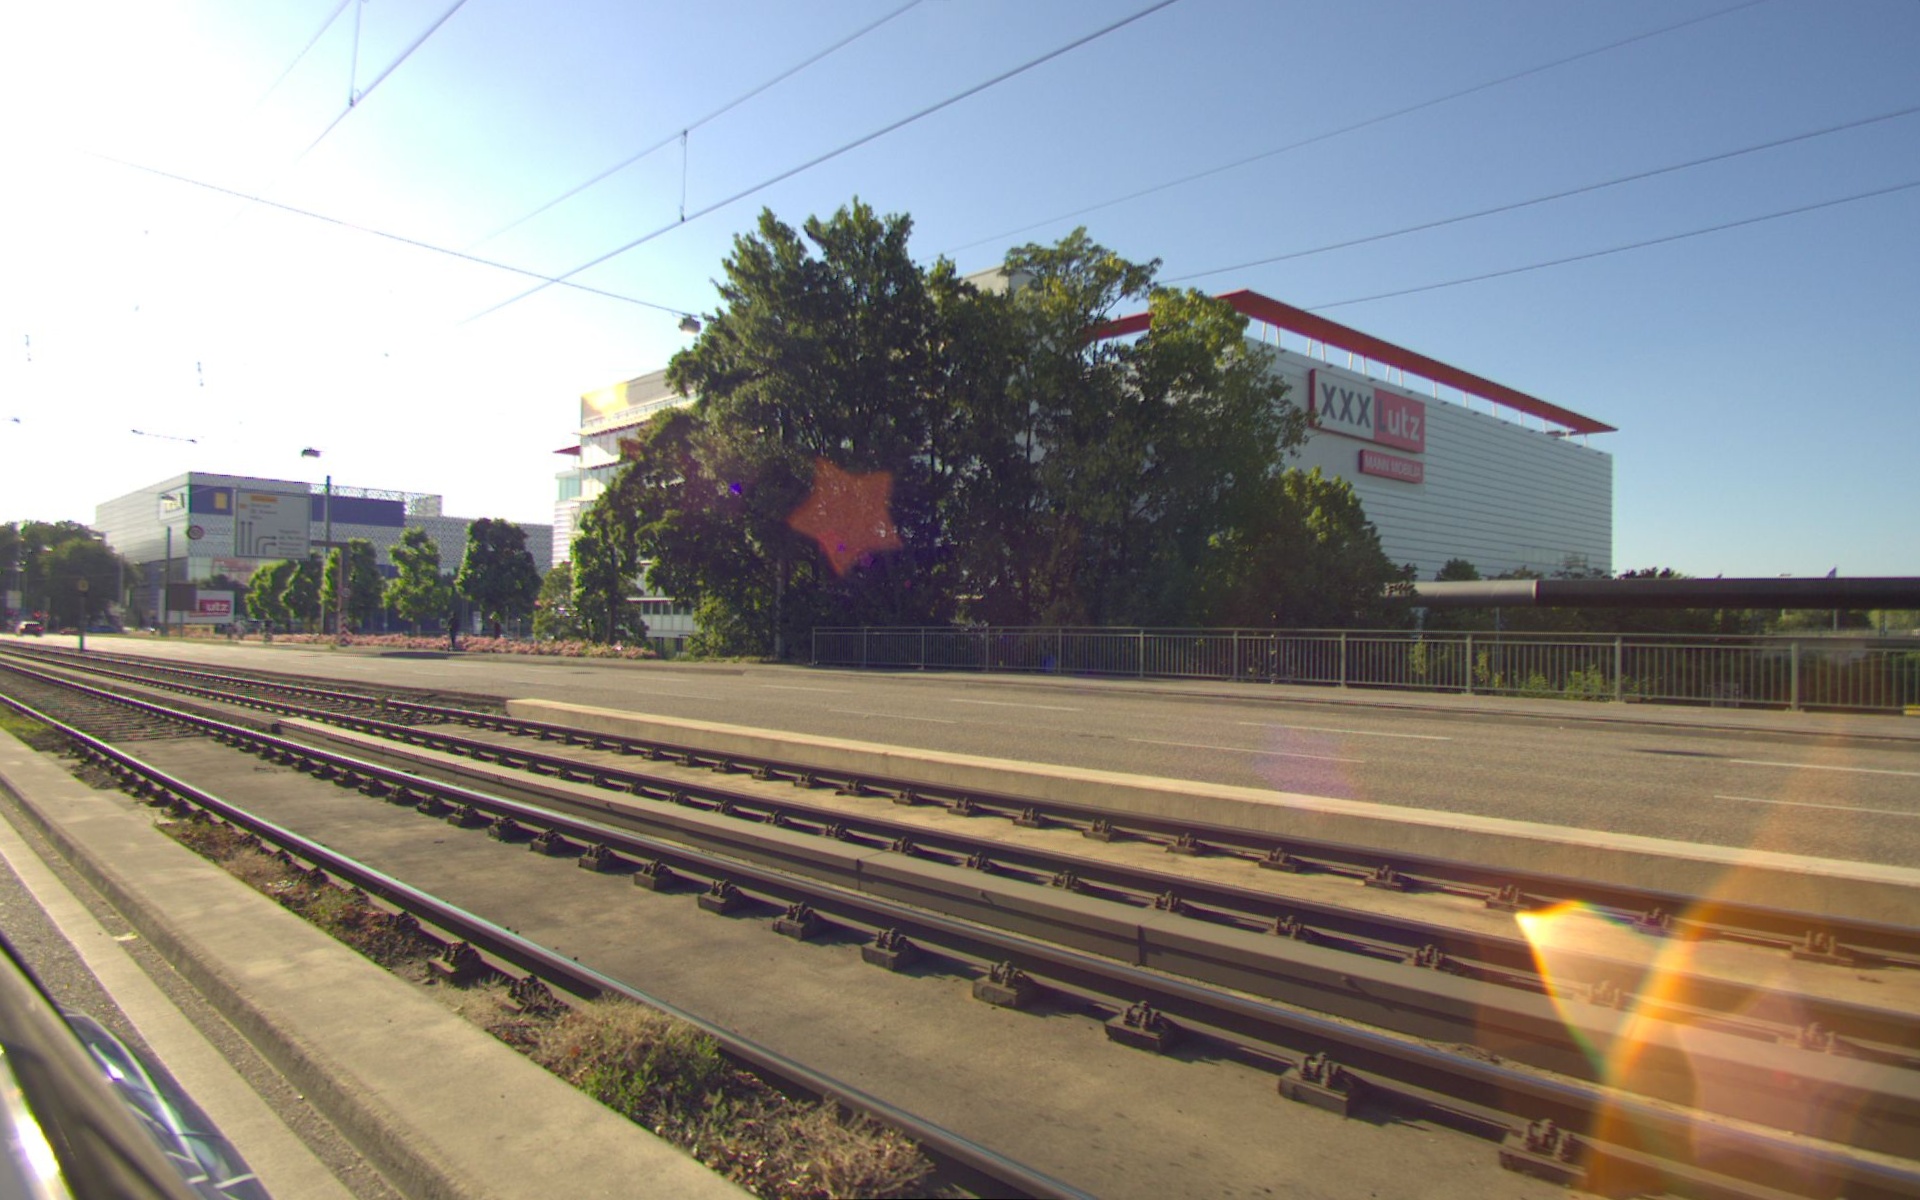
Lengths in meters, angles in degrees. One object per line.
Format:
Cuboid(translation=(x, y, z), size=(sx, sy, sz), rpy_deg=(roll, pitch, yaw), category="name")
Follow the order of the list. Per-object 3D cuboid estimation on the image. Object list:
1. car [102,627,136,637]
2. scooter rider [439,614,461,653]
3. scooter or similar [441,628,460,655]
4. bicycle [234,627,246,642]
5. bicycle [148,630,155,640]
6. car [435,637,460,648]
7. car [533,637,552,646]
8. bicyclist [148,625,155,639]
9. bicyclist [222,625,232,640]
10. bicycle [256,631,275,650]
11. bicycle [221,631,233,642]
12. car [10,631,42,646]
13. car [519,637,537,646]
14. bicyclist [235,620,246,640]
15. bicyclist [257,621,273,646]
Cuboid(translation=(-142.952, 5.506, 171.993), size=(4.194, 1.509, 2.017), rpy_deg=(5, -4, -44), category="car")
Cuboid(translation=(-24.501, 1.615, 48.594), size=(0.674, 1.862, 1.002), rpy_deg=(2, -3, -41), category="scooter rider")
Cuboid(translation=(-24.486, 1.986, 48.622), size=(0.466, 1.306, 1.263), rpy_deg=(2, -2, -42), category="scooter or similar")
Cuboid(translation=(-61.168, 2.948, 86.024), size=(0.595, 1.228, 1.750), rpy_deg=(-2, 0, -43), category="bicycle")
Cuboid(translation=(-99.013, 4.283, 123.943), size=(0.653, 1.159, 2.025), rpy_deg=(-2, 0, -39), category="bicycle")
Cuboid(translation=(-93.985, 7.738, 185.652), size=(4.204, 1.813, 1.812), rpy_deg=(-2, 0, 25), category="car")
Cuboid(translation=(-80.806, 8.023, 195.874), size=(3.999, 1.668, 1.777), rpy_deg=(-2, -2, 42), category="car")
Cuboid(translation=(-99.023, 3.884, 123.940), size=(0.653, 1.635, 0.802), rpy_deg=(-2, 0, -40), category="bicyclist")
Cuboid(translation=(-68.648, 3.043, 94.748), size=(0.880, 1.384, 0.617), rpy_deg=(-2, -3, 45), category="bicyclist")
Cuboid(translation=(-43.180, 2.502, 62.907), size=(0.696, 1.081, 2.030), rpy_deg=(-2, 0, -42), category="bicycle")
Cuboid(translation=(-68.645, 3.418, 94.730), size=(0.617, 1.067, 1.704), rpy_deg=(2, -3, -45), category="bicycle")
Cuboid(translation=(-98.544, 4.051, 106.746), size=(4.885, 1.515, 2.018), rpy_deg=(-1, -2, 42), category="car")
Cuboid(translation=(-82.881, 7.955, 194.026), size=(3.999, 1.668, 1.704), rpy_deg=(-2, -2, 42), category="car")
Cuboid(translation=(-61.179, 2.518, 86.023), size=(0.595, 1.671, 0.964), rpy_deg=(-2, 0, -43), category="bicyclist")
Cuboid(translation=(-43.213, 2.059, 62.937), size=(0.696, 1.524, 0.971), rpy_deg=(-2, 0, -42), category="bicyclist")
